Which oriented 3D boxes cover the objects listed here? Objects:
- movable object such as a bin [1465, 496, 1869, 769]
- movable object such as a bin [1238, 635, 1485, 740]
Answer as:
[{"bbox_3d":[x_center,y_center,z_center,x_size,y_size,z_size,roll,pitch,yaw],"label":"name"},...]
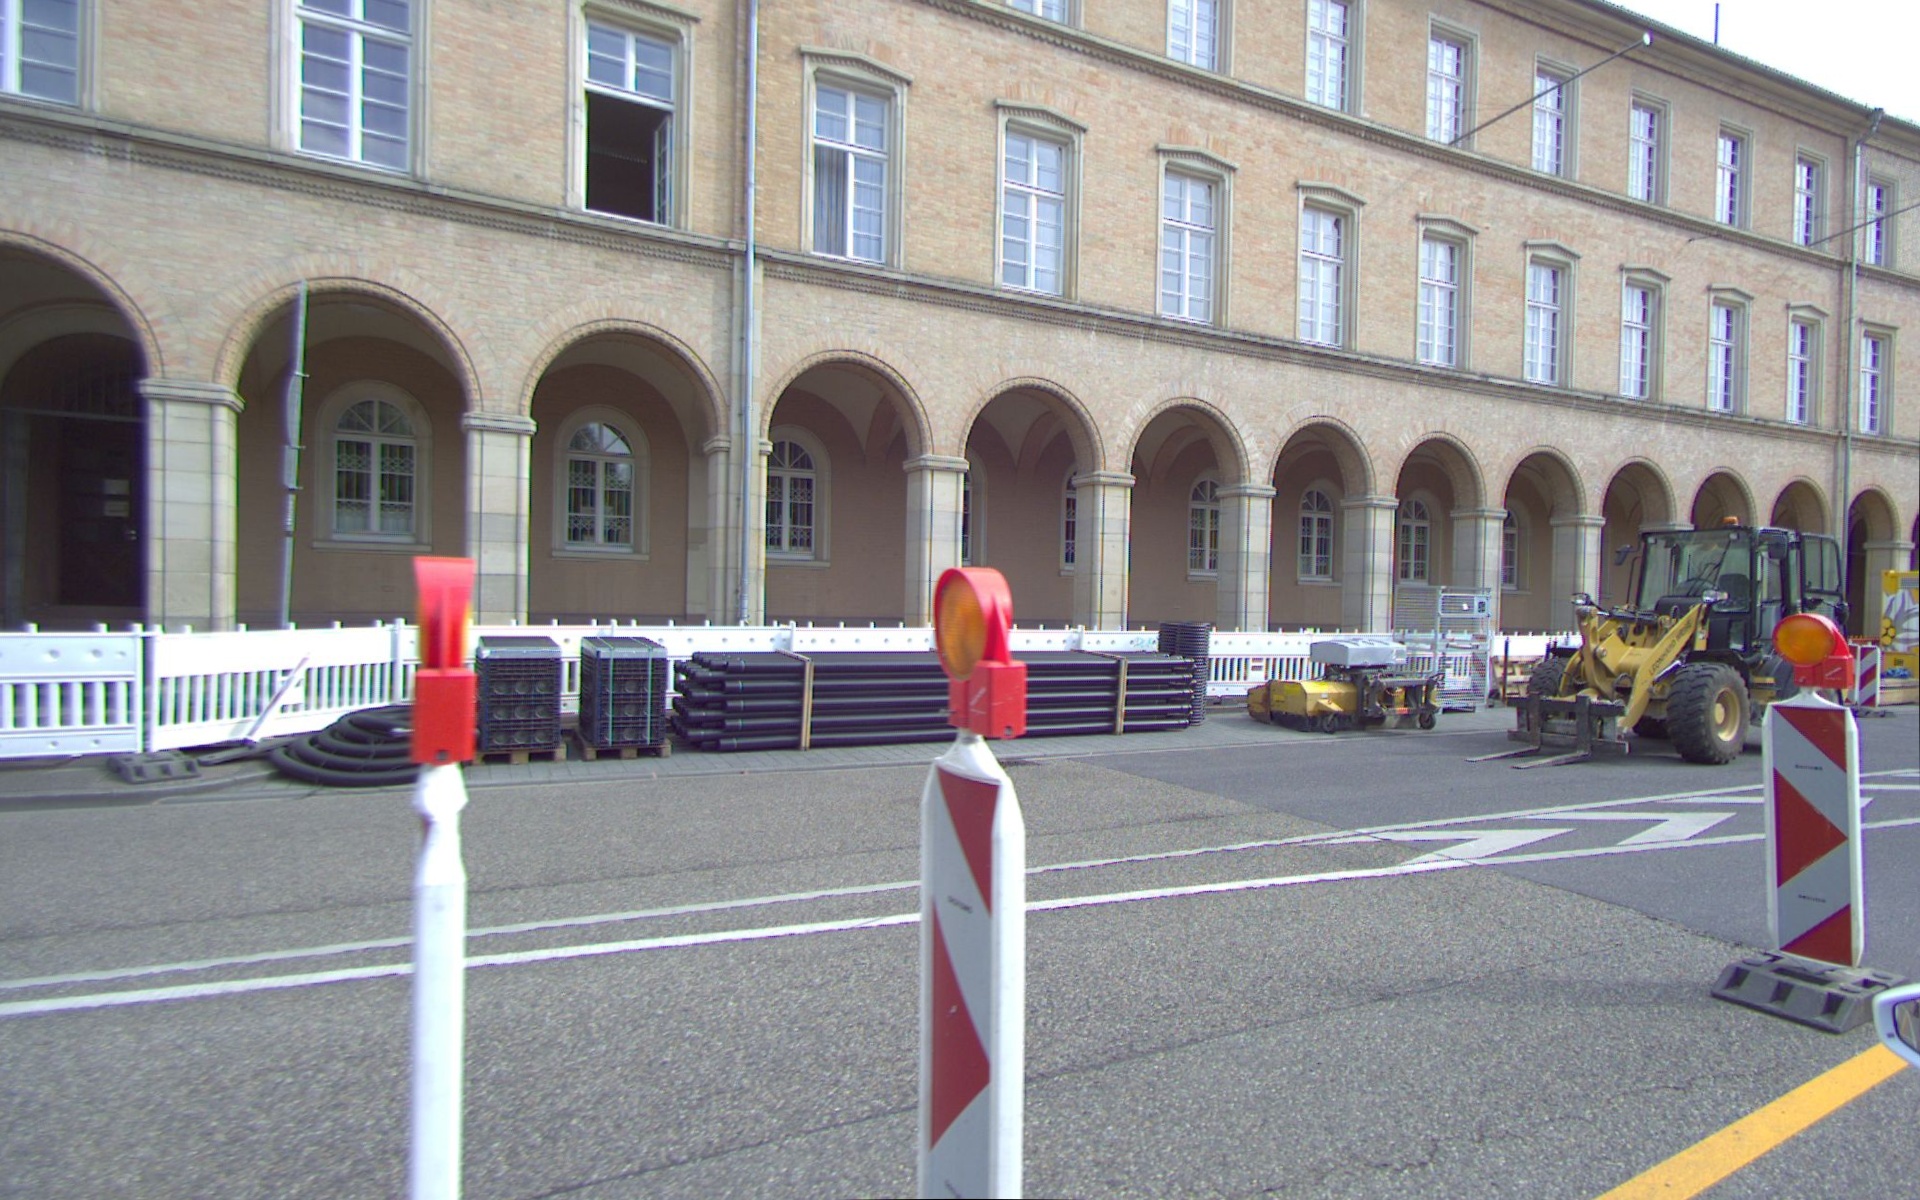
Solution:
[{"bbox_3d":[8.551,0.375,12.120,4.560,2.754,2.107,1,0,-28],"label":"movable object such as a bin"},{"bbox_3d":[5.445,1.116,13.691,2.711,1.140,1.801,-1,1,-26],"label":"movable object such as a bin"}]
